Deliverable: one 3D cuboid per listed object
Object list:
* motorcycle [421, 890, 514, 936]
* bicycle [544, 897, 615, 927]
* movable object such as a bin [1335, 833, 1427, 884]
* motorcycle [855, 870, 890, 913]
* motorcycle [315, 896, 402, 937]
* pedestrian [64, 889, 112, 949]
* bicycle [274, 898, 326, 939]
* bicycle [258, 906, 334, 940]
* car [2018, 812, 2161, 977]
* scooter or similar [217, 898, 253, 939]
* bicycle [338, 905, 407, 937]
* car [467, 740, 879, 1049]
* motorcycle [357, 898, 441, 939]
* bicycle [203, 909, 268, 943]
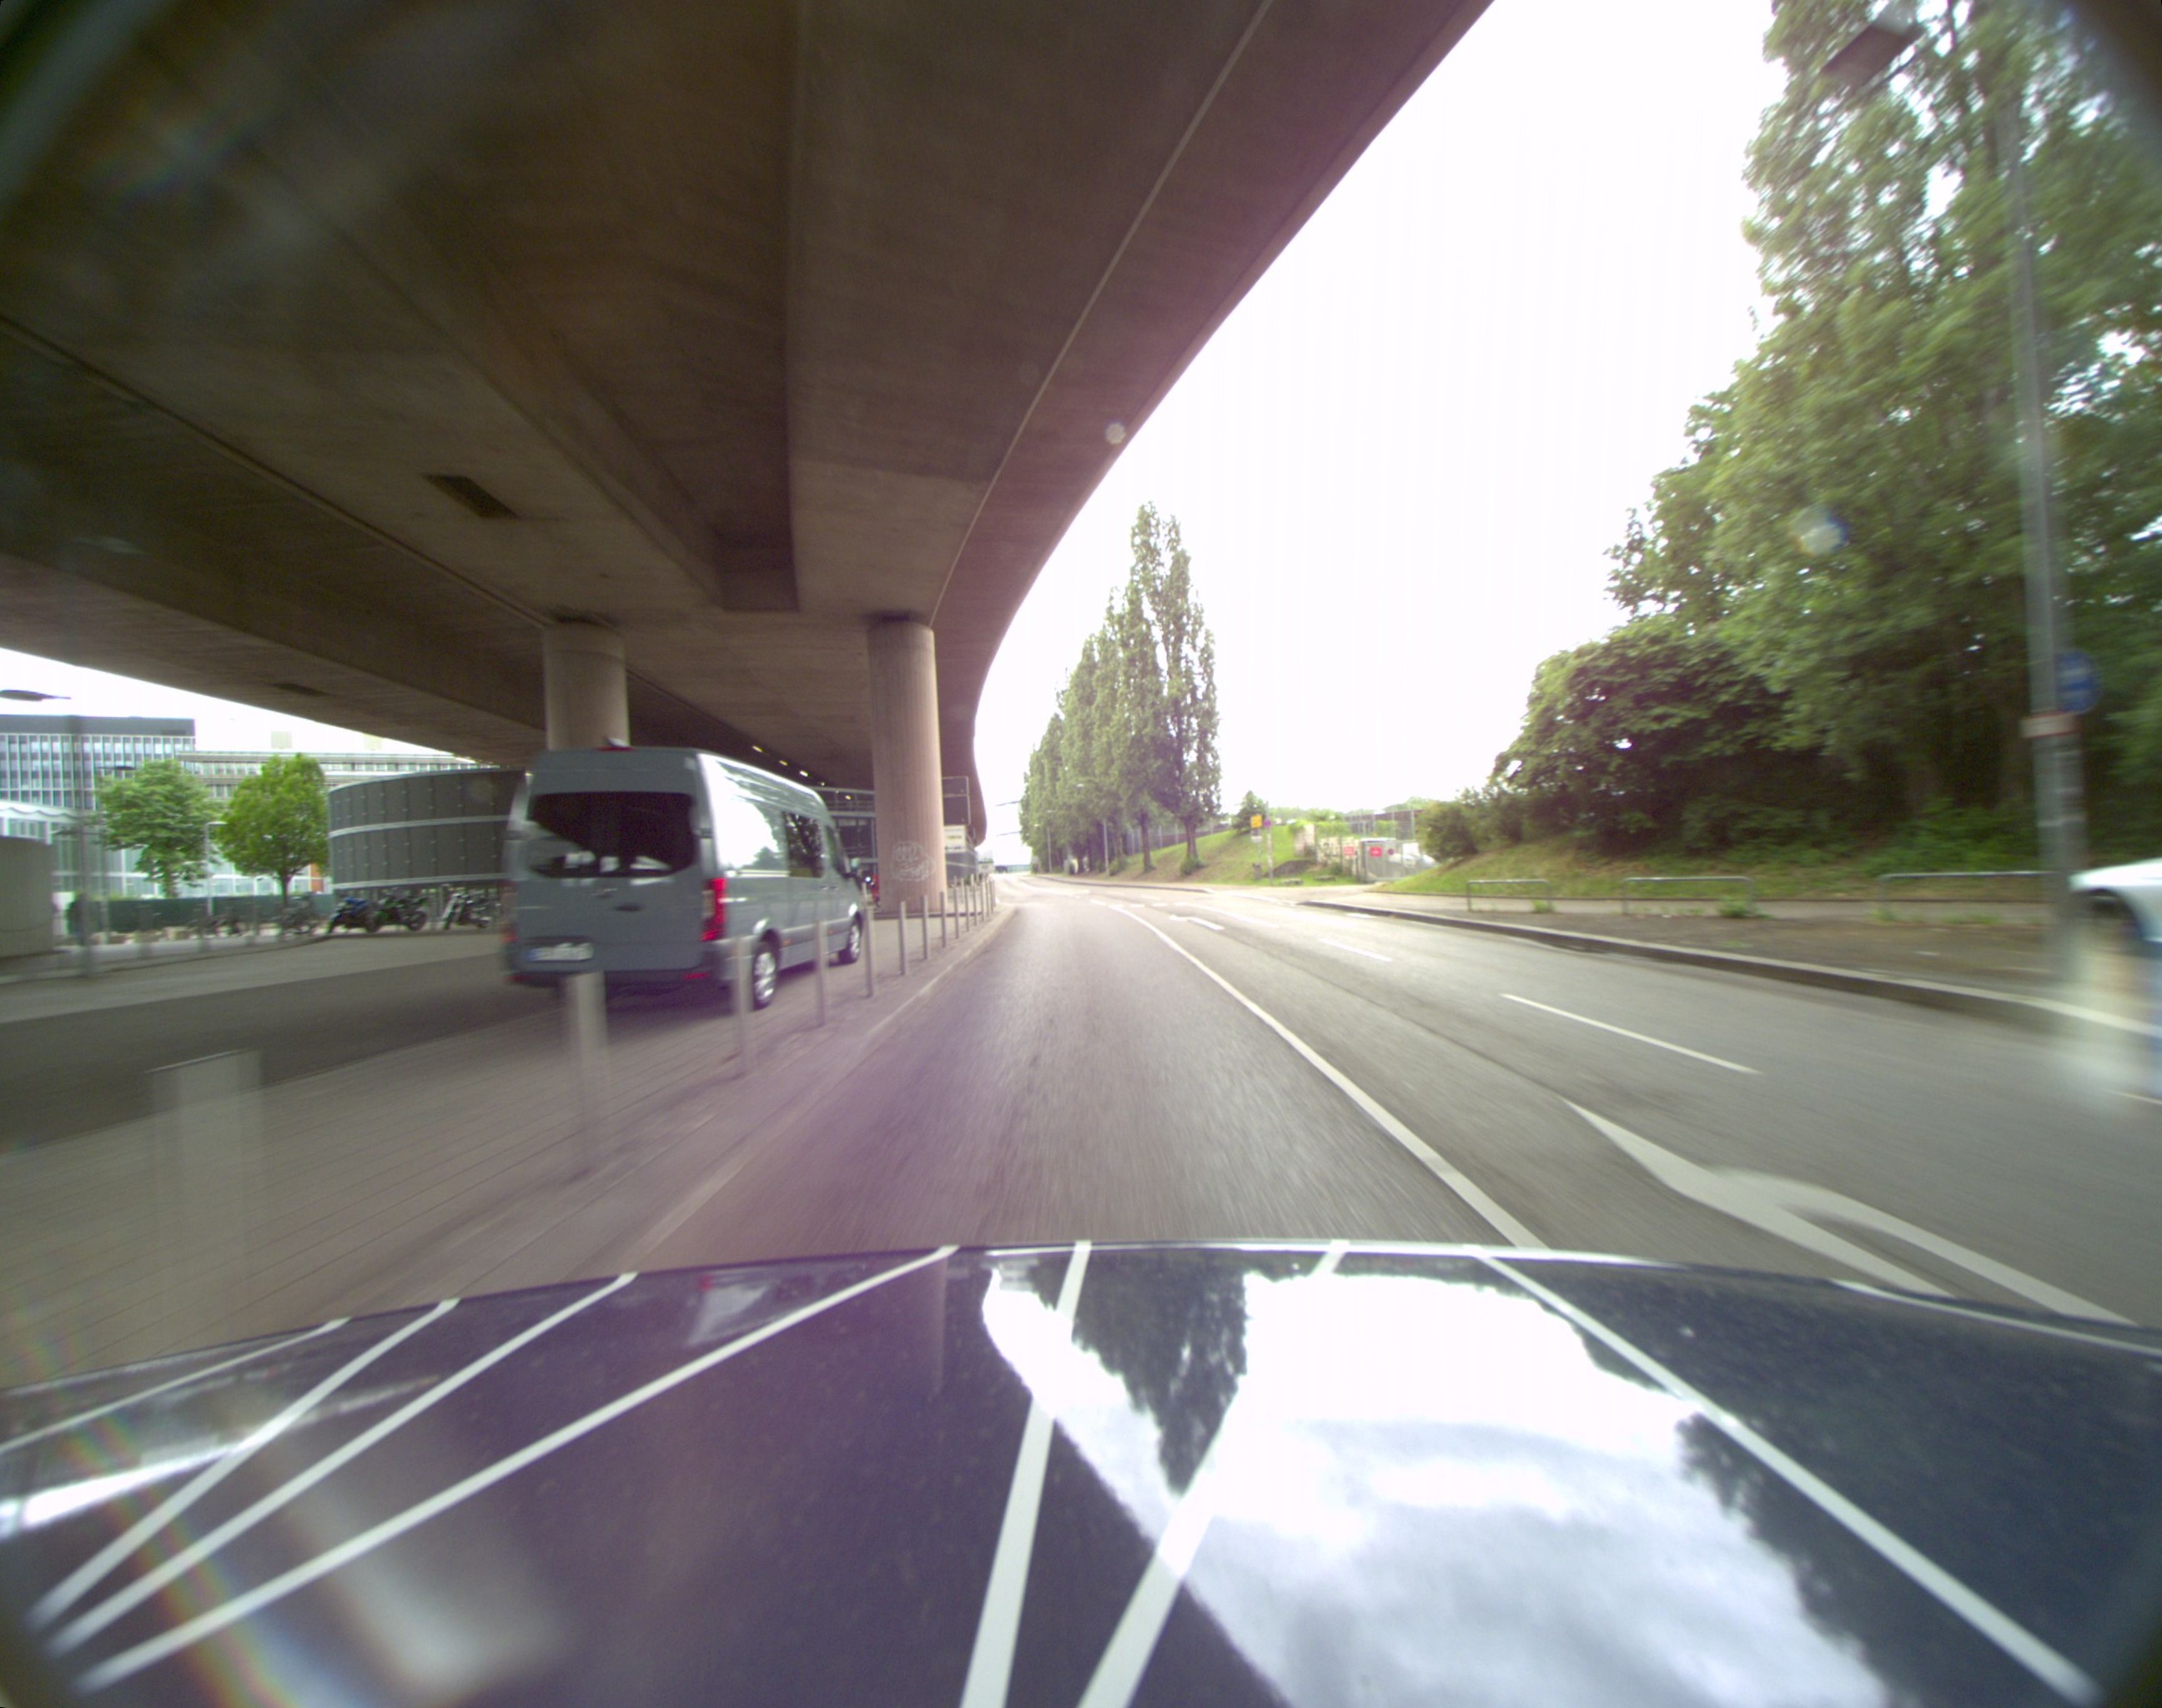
[{"bbox_3d":[-17.855,1.678,22.211,0.784,1.227,2.537,-2,-2,-3],"label":"motorcycle"},{"bbox_3d":[-17.596,2.014,26.684,2.020,0.920,0.419,-2,-1,-15],"label":"bicycle"},{"bbox_3d":[16.638,0.285,42.258,4.220,2.706,2.032,-2,-1,45],"label":"movable object such as a bin"},{"bbox_3d":[-6.935,1.232,25.225,0.799,1.358,2.126,-1,-1,-23],"label":"motorcycle"},{"bbox_3d":[-20.821,1.814,21.976,0.573,1.098,2.330,-2,-4,-9],"label":"motorcycle"},{"bbox_3d":[-31.005,2.017,23.734,0.505,1.816,0.696,-3,0,6],"label":"pedestrian"},{"bbox_3d":[-23.074,1.918,22.444,2.324,1.098,0.622,-6,-5,33],"label":"bicycle"},{"bbox_3d":[-26.143,2.302,25.324,2.061,1.017,0.396,-3,-1,-1],"label":"bicycle"},{"bbox_3d":[11.092,0.393,6.054,1.997,1.471,4.832,-7,1,14],"label":"car"},{"bbox_3d":[-26.717,2.053,23.993,1.676,1.210,0.545,-6,-5,35],"label":"scooter or similar"},{"bbox_3d":[-23.799,2.245,25.529,1.735,0.976,0.436,-3,-1,-8],"label":"bicycle"},{"bbox_3d":[-4.304,0.385,9.564,1.999,2.597,6.074,-2,-1,-2],"label":"car"},{"bbox_3d":[-19.700,1.831,22.018,0.544,1.098,2.329,-2,-3,-6],"label":"motorcycle"},{"bbox_3d":[-28.415,2.417,25.540,1.733,1.017,0.437,-3,-1,3],"label":"bicycle"}]
